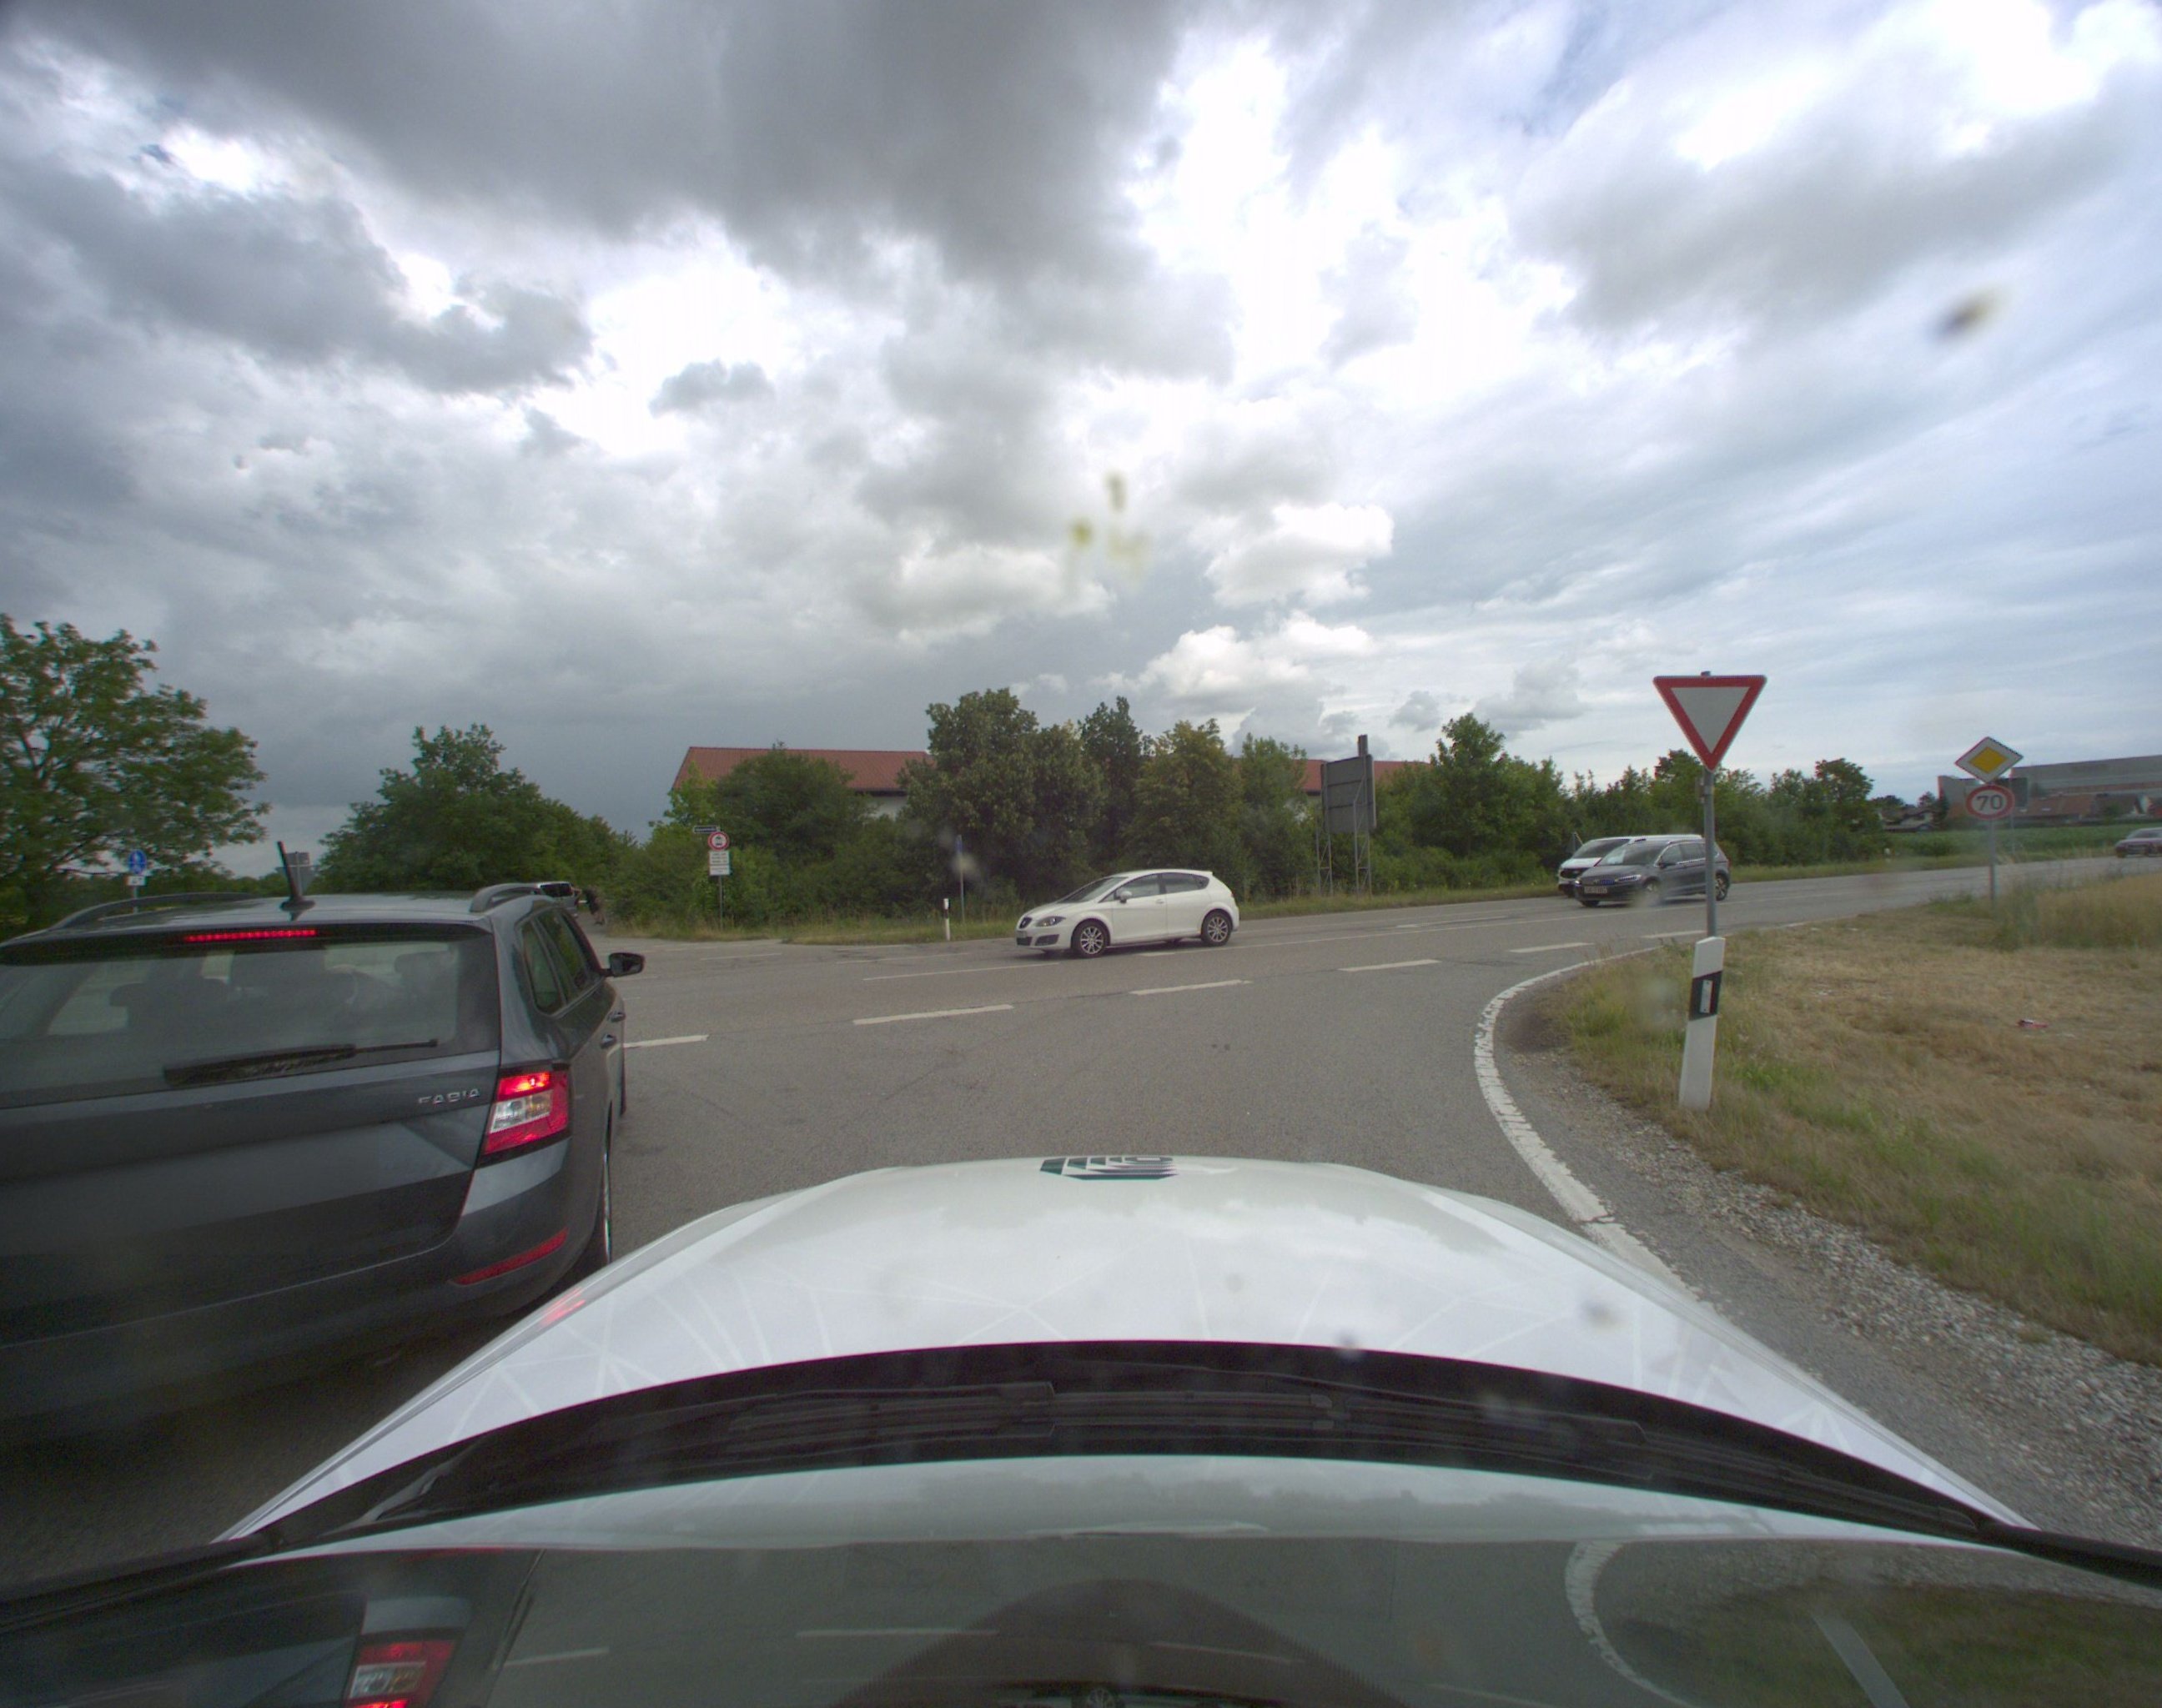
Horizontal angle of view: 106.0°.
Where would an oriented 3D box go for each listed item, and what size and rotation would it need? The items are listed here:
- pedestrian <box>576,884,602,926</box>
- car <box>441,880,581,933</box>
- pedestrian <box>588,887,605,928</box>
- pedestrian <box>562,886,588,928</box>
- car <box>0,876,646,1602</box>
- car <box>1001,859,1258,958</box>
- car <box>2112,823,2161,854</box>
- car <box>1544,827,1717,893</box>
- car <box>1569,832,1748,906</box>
[{"bbox_3d":[-20.799,2.144,34.431,0.726,1.723,0.787,-2,-1,-19],"label":"pedestrian"},{"bbox_3d":[-23.885,2.210,34.170,5.043,1.886,2.123,-3,0,18],"label":"car"},{"bbox_3d":[-21.420,2.361,36.016,0.491,1.746,0.639,-2,-1,-19],"label":"pedestrian"},{"bbox_3d":[-21.780,2.270,35.070,0.702,1.723,0.729,-2,-1,-15],"label":"pedestrian"},{"bbox_3d":[-2.933,0.845,3.611,1.723,1.447,4.078,-1,-1,-29],"label":"car"},{"bbox_3d":[0.894,0.930,14.930,4.320,1.408,1.805,-3,-2,-25],"label":"car"},{"bbox_3d":[53.607,-0.818,40.576,4.093,1.402,1.665,-3,-2,-22],"label":"car"},{"bbox_3d":[18.151,0.198,26.888,5.396,1.886,2.096,-2,-1,-23],"label":"car"},{"bbox_3d":[15.019,0.372,21.170,4.296,1.658,1.740,-2,-2,-24],"label":"car"}]
